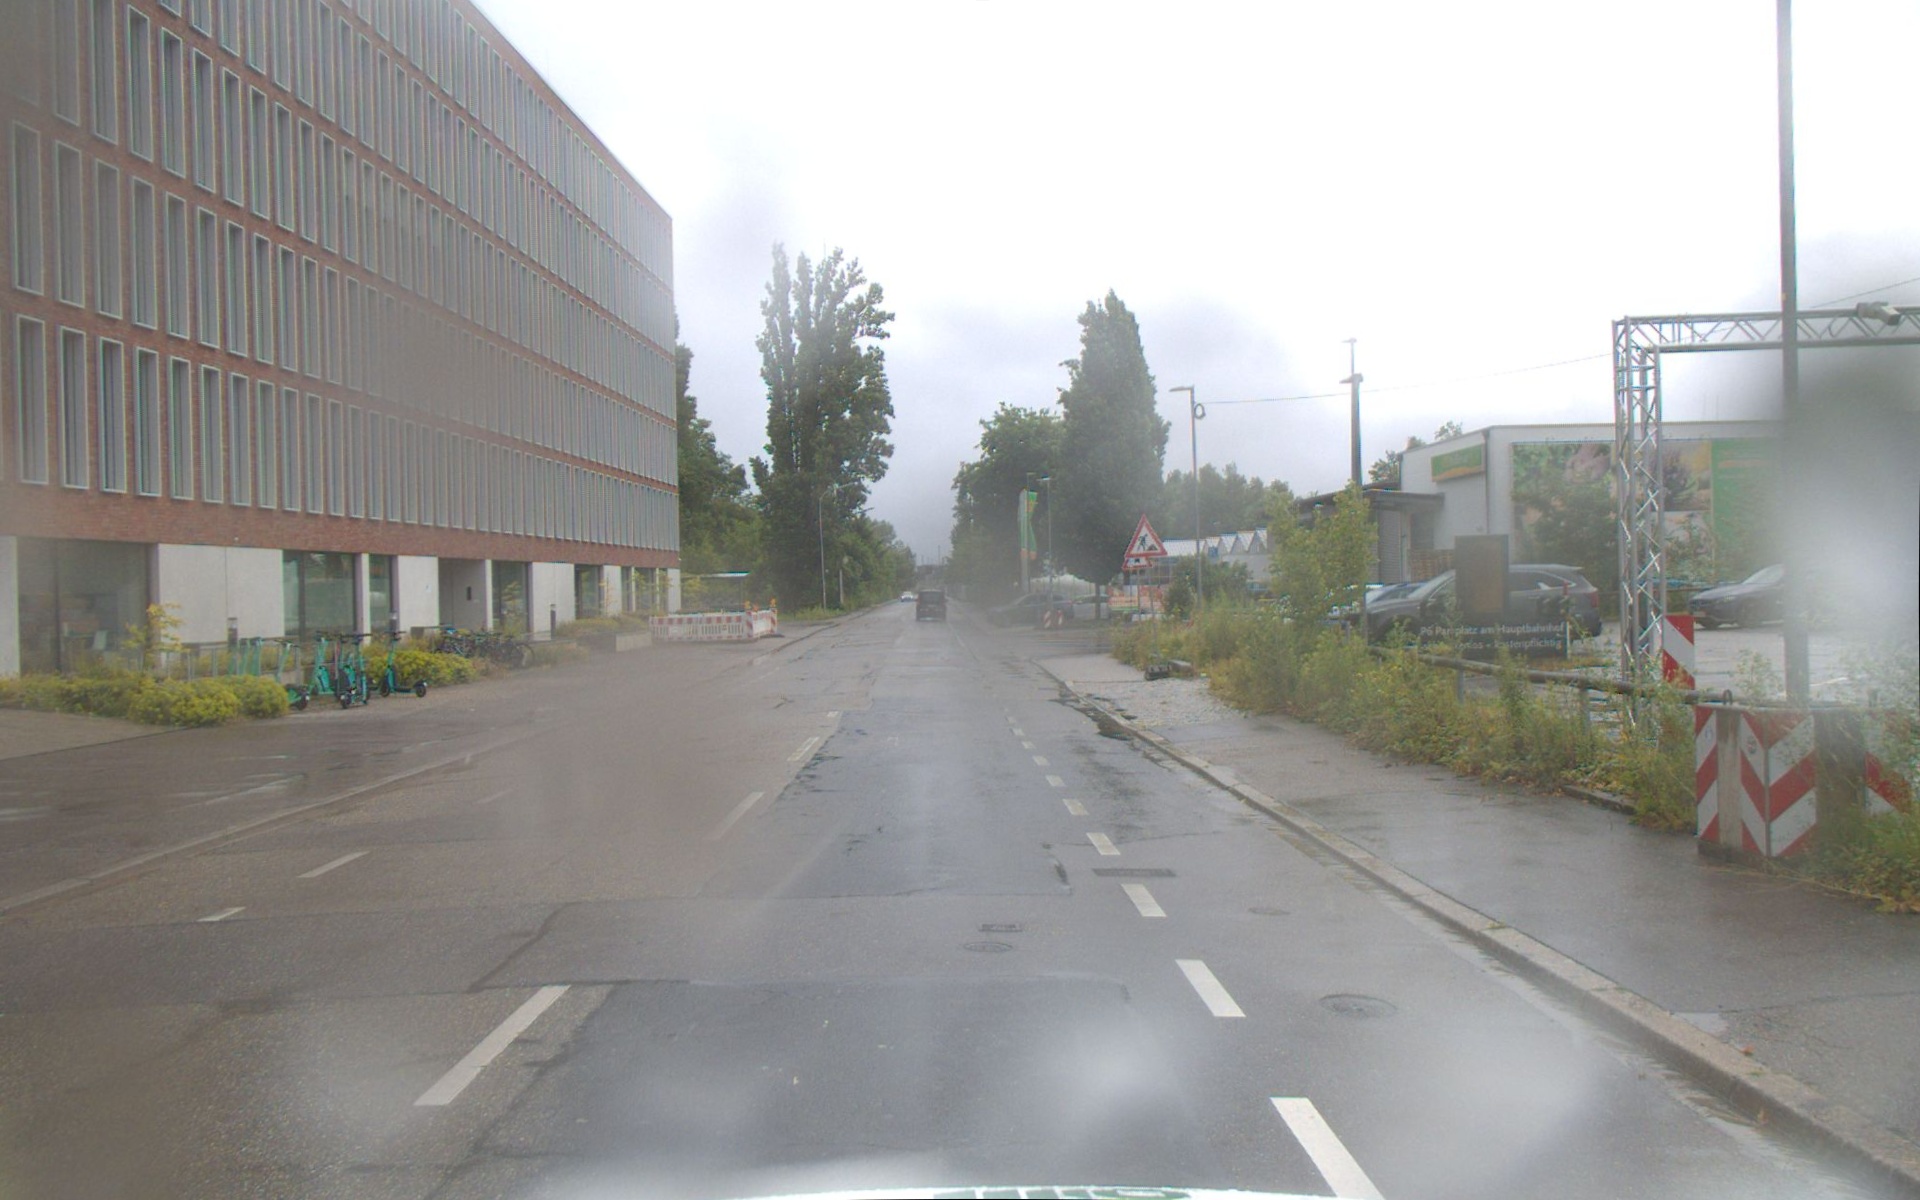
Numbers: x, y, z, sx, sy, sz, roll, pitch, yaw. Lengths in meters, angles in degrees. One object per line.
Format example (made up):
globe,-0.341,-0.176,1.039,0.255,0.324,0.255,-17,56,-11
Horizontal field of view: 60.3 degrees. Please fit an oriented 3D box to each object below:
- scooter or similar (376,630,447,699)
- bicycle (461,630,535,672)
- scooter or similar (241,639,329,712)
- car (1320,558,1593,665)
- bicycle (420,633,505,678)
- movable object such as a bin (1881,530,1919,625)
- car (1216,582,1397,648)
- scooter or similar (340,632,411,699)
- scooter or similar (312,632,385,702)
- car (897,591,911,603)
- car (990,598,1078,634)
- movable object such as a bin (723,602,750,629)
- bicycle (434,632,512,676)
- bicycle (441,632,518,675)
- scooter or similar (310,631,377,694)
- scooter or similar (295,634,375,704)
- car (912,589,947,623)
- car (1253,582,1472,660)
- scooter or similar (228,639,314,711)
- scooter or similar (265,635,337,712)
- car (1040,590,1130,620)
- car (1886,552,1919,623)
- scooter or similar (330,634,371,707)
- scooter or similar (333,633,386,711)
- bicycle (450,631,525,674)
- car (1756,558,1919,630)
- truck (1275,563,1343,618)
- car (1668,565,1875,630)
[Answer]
scooter or similar,-10.272,1.209,30.984,1.291,1.251,0.467,-2,0,28
bicycle,-12.373,1.361,44.288,1.822,1.096,0.544,0,0,-2
scooter or similar,-11.750,1.312,28.800,1.289,1.198,0.468,-2,0,5
car,9.409,0.233,31.661,4.583,1.765,2.129,-3,-1,3
bicycle,-12.313,1.368,40.942,1.909,1.096,0.620,0,0,-2
movable object such as a bin,32.562,-0.766,53.917,3.906,3.045,1.999,-1,0,-2
car,8.606,0.381,41.272,4.096,1.536,1.890,-1,-1,-1
scooter or similar,-11.428,1.267,32.340,0.459,1.229,1.201,-2,0,41
scooter or similar,-11.648,1.262,31.503,0.459,1.251,1.201,-2,0,41
car,-8.129,-0.447,240.314,1.698,1.475,4.381,-4,1,0
car,3.626,0.781,81.065,4.058,1.596,1.762,-2,0,-7
movable object such as a bin,-11.301,0.793,83.743,1.271,1.331,1.446,-1,0,-7
bicycle,-12.348,1.373,41.957,1.822,1.096,0.544,0,0,-2
bicycle,-12.355,1.378,42.544,1.822,1.096,0.544,0,0,-2
scooter or similar,-12.738,1.288,34.181,1.200,1.229,0.418,-2,0,6
scooter or similar,-11.575,1.270,30.643,1.294,1.198,0.466,-2,0,-13
car,-1.846,0.351,98.118,1.953,1.943,4.199,-2,0,-2
car,8.522,0.459,35.235,4.208,1.543,1.819,-1,-1,-1
scooter or similar,-12.200,1.319,29.307,1.289,1.198,0.468,-2,0,5
scooter or similar,-11.089,1.229,27.808,1.295,1.251,0.506,-2,0,38
car,6.632,0.280,88.182,4.609,1.488,1.890,-1,0,-3
car,25.572,-0.448,40.732,4.354,1.701,2.042,-4,-1,-4
scooter or similar,-10.958,1.257,29.724,0.461,1.251,1.308,-2,0,-29
scooter or similar,-10.334,1.226,28.486,0.457,1.251,1.320,-2,0,-4
bicycle,-12.395,1.377,43.420,1.822,1.096,0.544,0,0,-2
car,20.103,-0.127,36.674,3.905,1.511,2.000,-1,-1,0
truck,18.818,-0.539,89.441,2.253,2.705,7.418,-3,0,2
car,19.132,-0.041,39.109,3.905,1.434,2.000,-1,-1,0
